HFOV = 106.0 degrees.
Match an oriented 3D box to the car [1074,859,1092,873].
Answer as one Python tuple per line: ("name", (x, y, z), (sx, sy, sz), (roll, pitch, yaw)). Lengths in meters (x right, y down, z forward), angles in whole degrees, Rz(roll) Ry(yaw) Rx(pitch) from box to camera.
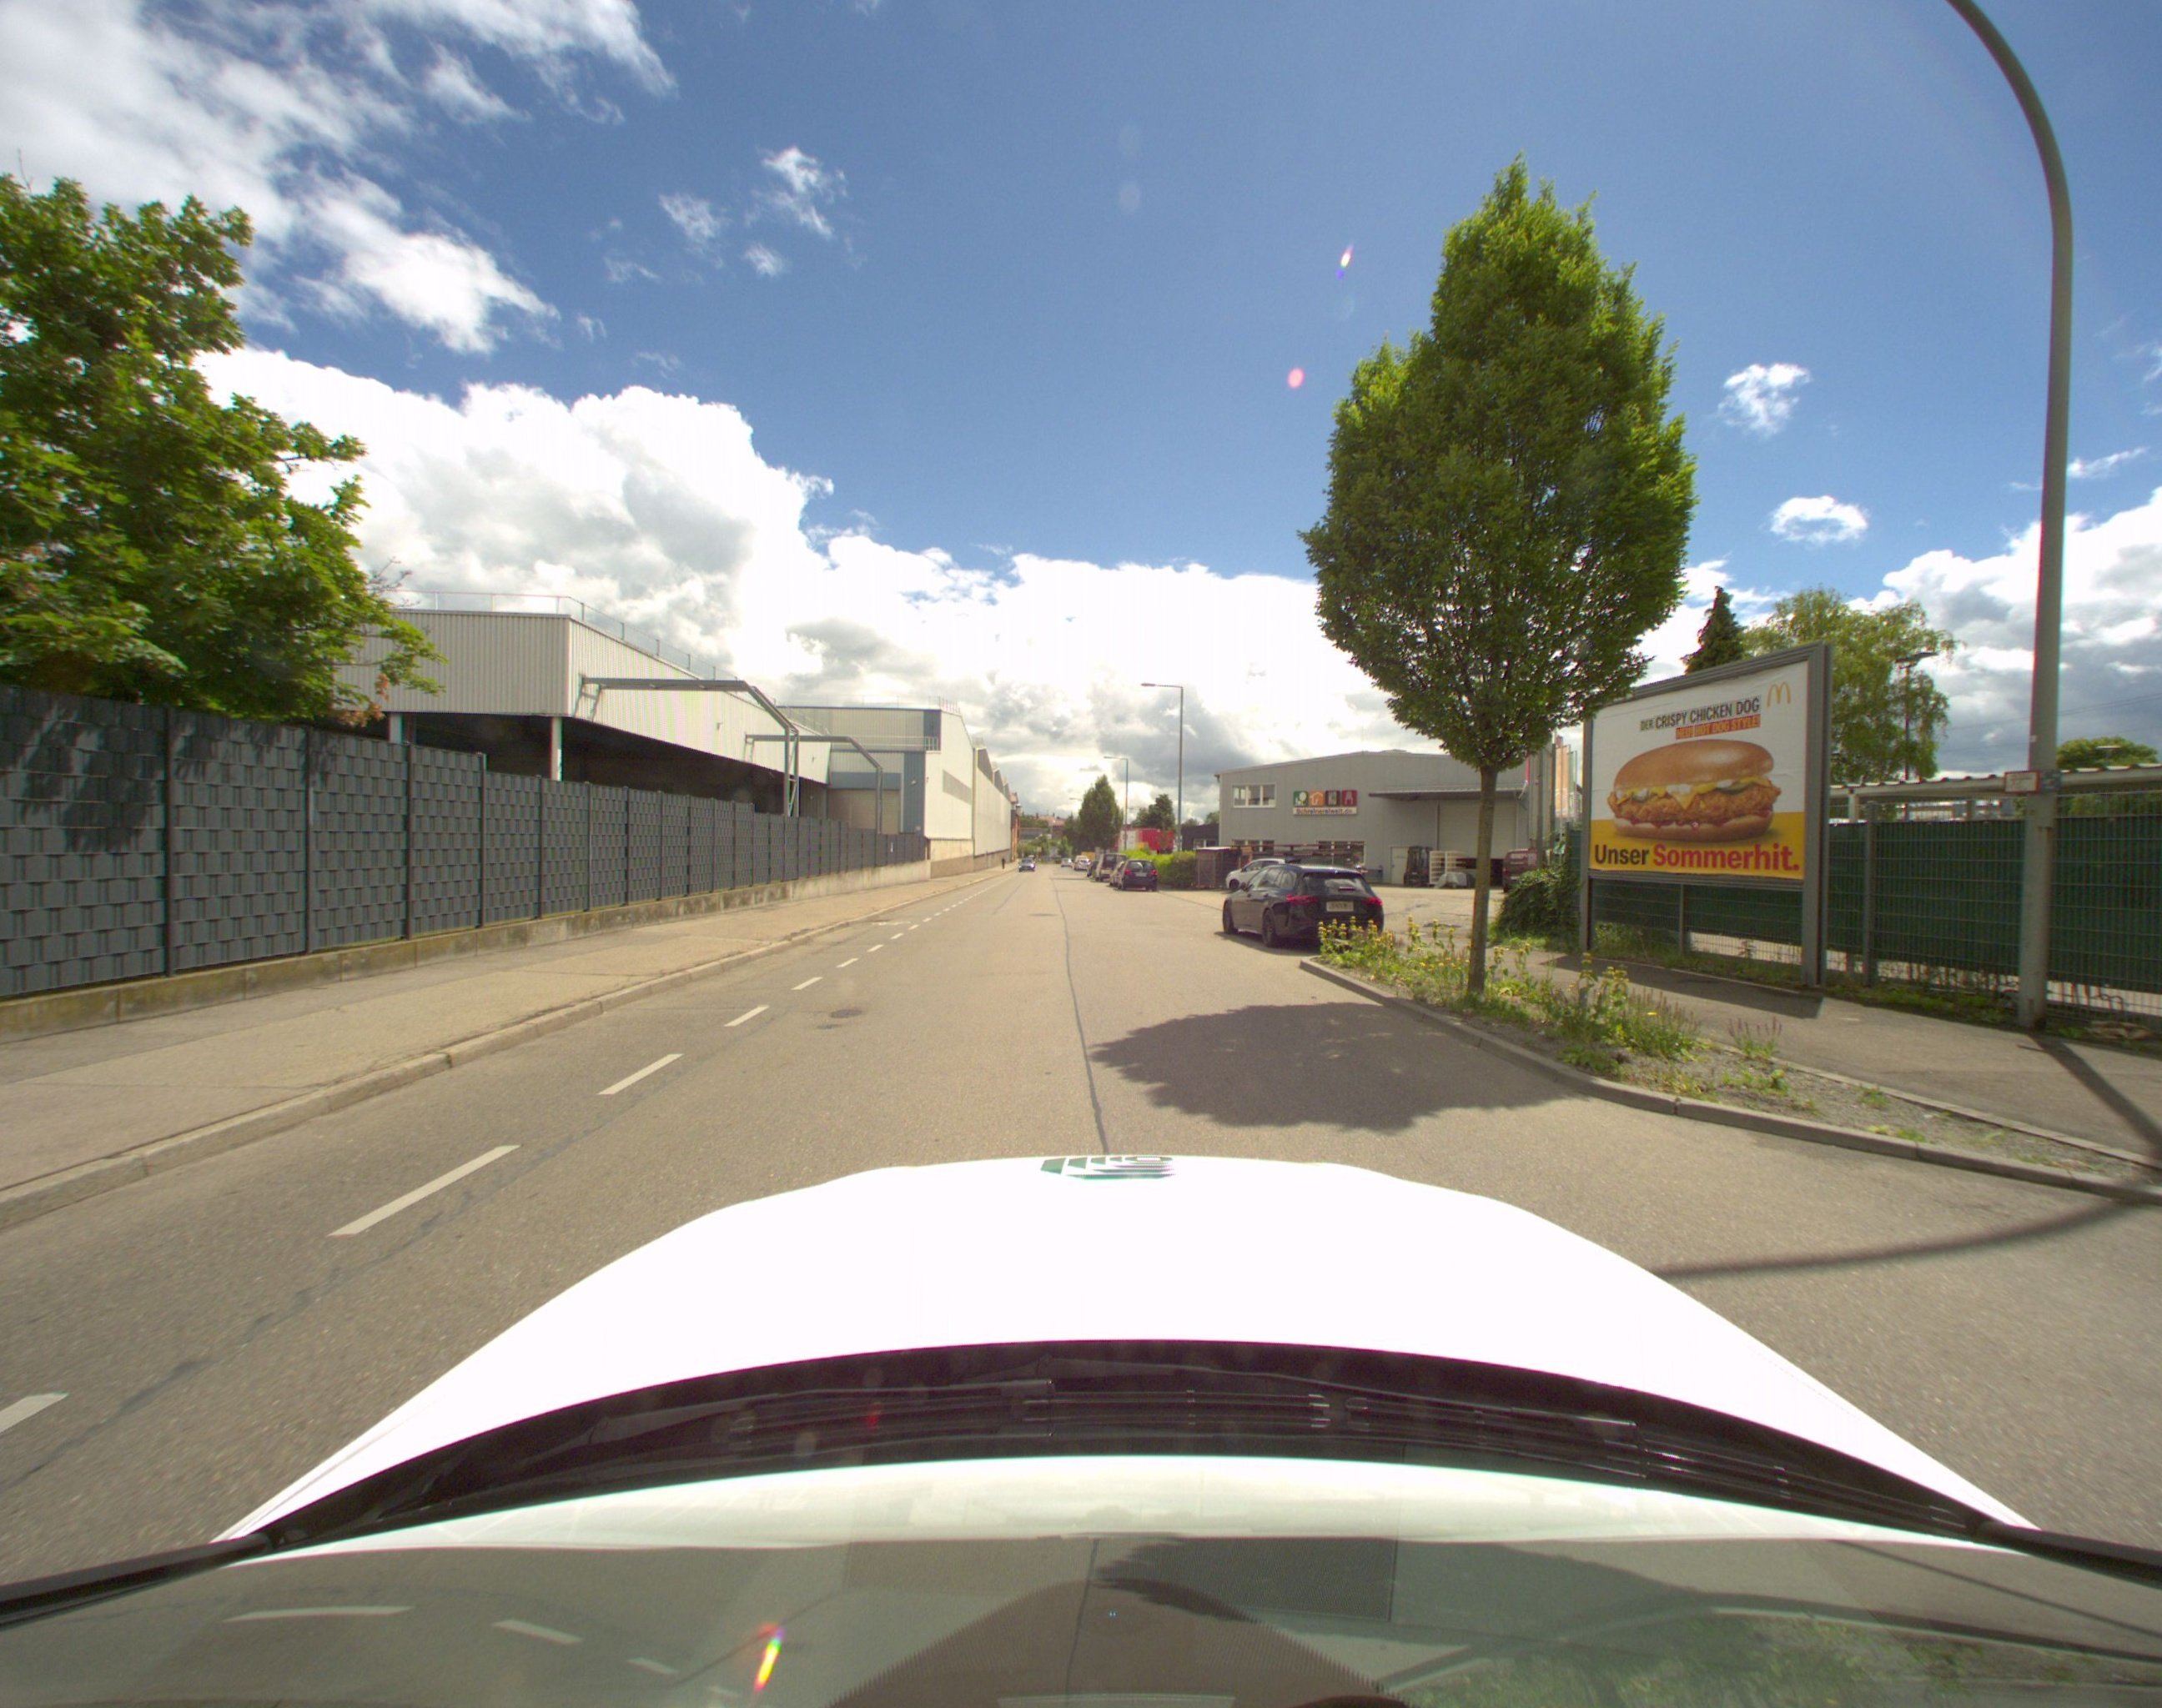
("car", (0.216, 1.446, 100.666), (1.699, 1.528, 3.730), (3, -1, -6))

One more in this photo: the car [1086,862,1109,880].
("car", (1.389, 1.418, 70.343), (1.710, 1.474, 4.506), (1, -1, -3))

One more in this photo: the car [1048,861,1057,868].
("car", (-6.298, 2.355, 179.175), (1.848, 1.486, 3.995), (1, -2, -3))

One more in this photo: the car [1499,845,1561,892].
("car", (19.243, 0.601, 34.857), (1.794, 1.871, 4.067), (-1, -1, 36))

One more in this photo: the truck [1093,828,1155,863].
("truck", (6.054, -1.153, 114.982), (8.382, 4.671, 2.594), (0, -3, 18))

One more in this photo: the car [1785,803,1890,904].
("car", (23.961, -0.009, 25.999), (2.040, 2.844, 6.013), (-2, -1, 40))

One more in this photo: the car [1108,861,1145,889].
("car", (2.579, 1.167, 46.791), (1.651, 1.540, 4.729), (1, -1, -3))

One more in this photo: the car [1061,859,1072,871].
("car", (-2.374, 1.830, 132.097), (1.563, 1.786, 3.601), (1, -2, -3))

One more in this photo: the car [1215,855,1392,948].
("car", (3.943, 0.796, 15.300), (1.787, 1.466, 4.701), (1, -1, -4))

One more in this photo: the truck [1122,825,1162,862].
("truck", (8.018, -1.284, 108.289), (2.580, 4.450, 7.814), (1, -2, -17))

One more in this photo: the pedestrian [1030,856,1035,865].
("pedestrian", (-9.003, 1.208, 150.546), (0.850, 1.663, 0.860), (0, -2, 2))

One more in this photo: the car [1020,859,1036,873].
("car", (-6.071, 1.425, 94.343), (1.715, 1.556, 4.282), (-3, -2, -3))

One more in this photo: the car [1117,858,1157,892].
("car", (2.828, 1.057, 41.816), (1.674, 1.638, 4.121), (1, -1, -1))

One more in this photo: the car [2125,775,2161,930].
("car", (20.596, -0.110, 12.380), (2.271, 2.768, 5.448), (1, -2, -3))

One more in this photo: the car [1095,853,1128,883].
("car", (2.084, 0.979, 56.696), (1.865, 1.990, 5.138), (1, -1, -3))

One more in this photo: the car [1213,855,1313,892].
("car", (7.939, 0.883, 35.797), (1.734, 1.462, 4.026), (-3, 0, -41))

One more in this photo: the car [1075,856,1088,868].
("car", (0.096, 1.116, 111.562), (1.696, 1.528, 3.736), (1, -1, -1))
